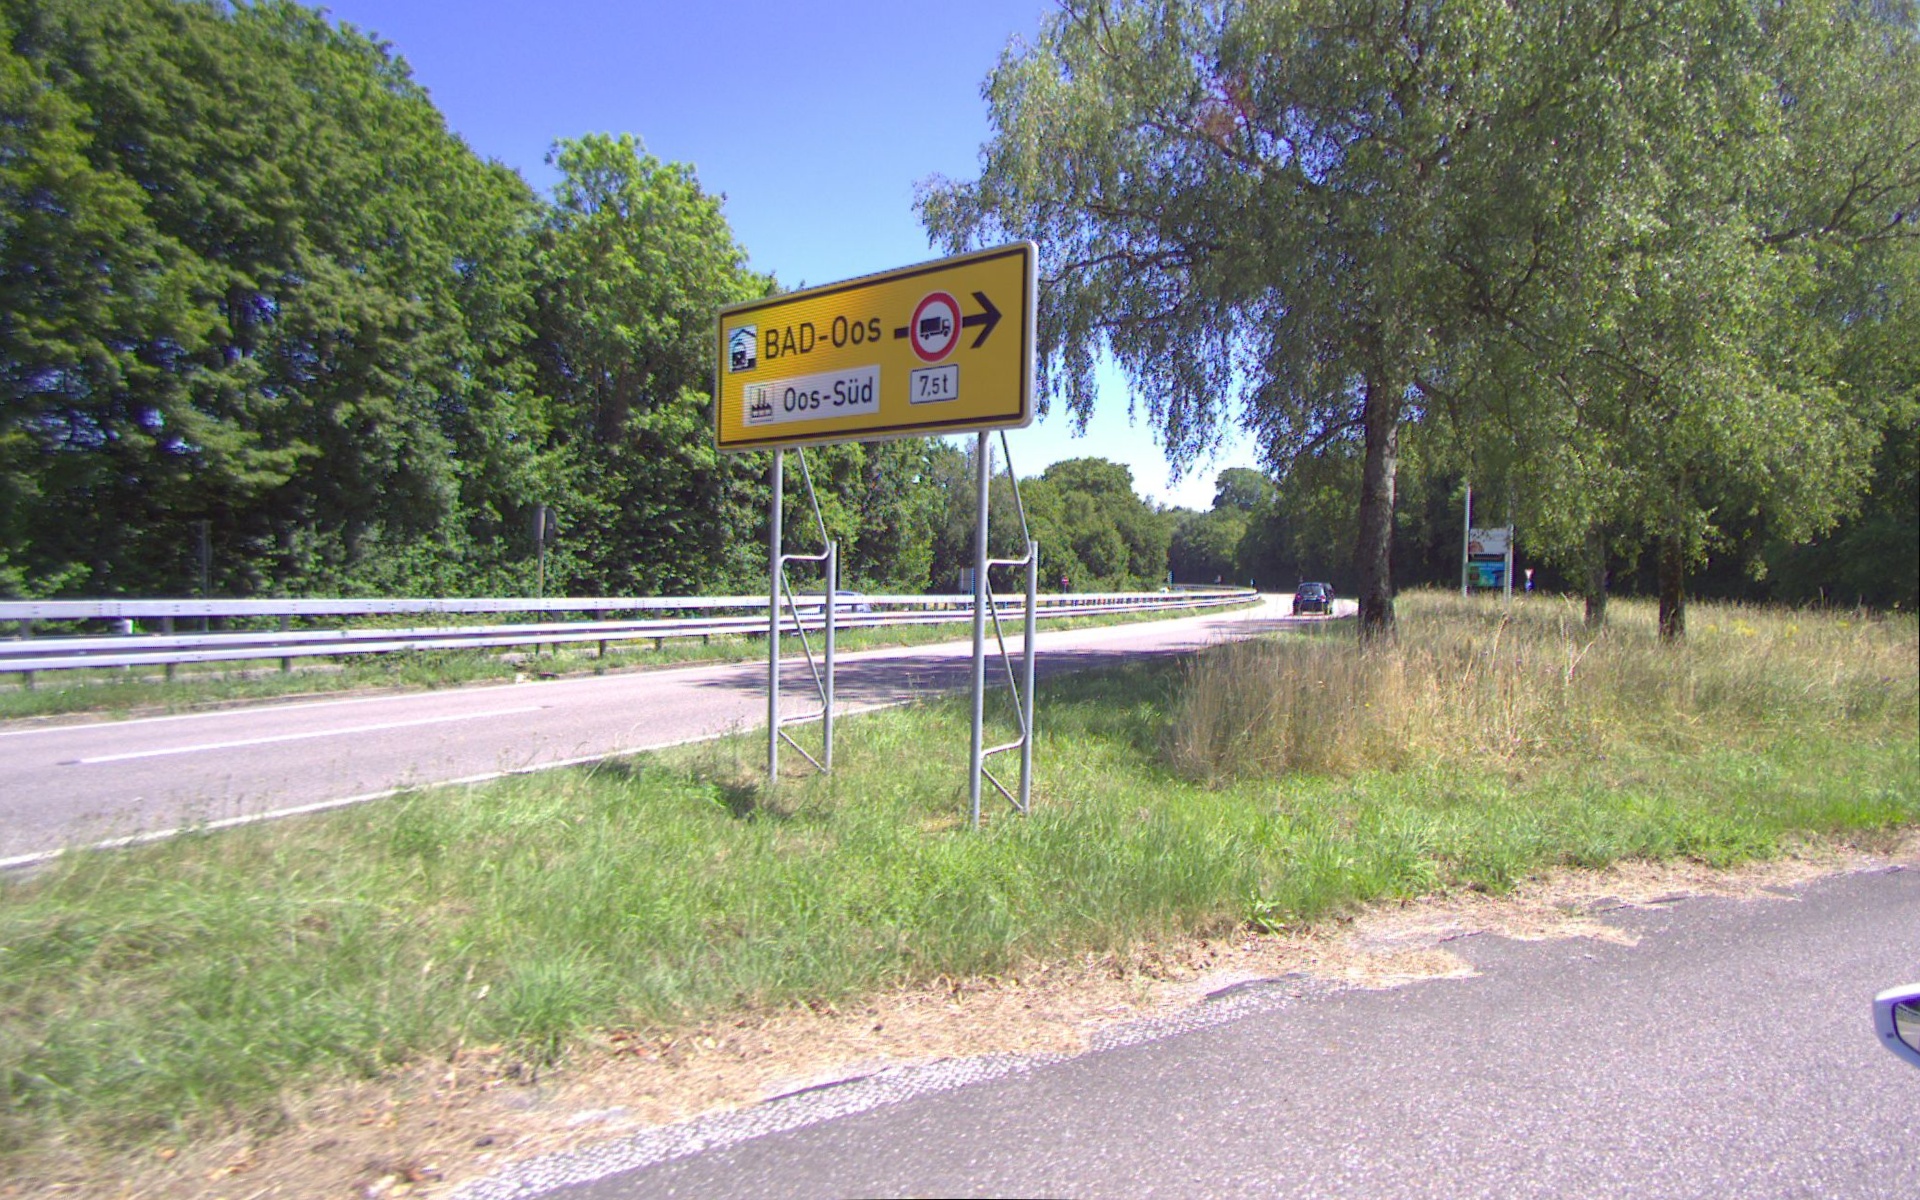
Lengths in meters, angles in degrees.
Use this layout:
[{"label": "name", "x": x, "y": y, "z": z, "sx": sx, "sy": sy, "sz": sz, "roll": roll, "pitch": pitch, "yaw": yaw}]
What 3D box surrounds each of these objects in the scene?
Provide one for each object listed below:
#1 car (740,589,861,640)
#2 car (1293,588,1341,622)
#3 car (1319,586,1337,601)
[{"label": "car", "x": -4.565, "y": 0.389, "z": 29.278, "sx": 1.419, "sy": 1.400, "sz": 3.841, "roll": -1, "pitch": 0, "yaw": 29}, {"label": "car", "x": 16.916, "y": 0.238, "z": 47.504, "sx": 1.492, "sy": 1.521, "sz": 3.582, "roll": -1, "pitch": 0, "yaw": 30}, {"label": "car", "x": 33.643, "y": -0.615, "z": 91.797, "sx": 1.500, "sy": 1.331, "sz": 3.414, "roll": 0, "pitch": 0, "yaw": 20}]
